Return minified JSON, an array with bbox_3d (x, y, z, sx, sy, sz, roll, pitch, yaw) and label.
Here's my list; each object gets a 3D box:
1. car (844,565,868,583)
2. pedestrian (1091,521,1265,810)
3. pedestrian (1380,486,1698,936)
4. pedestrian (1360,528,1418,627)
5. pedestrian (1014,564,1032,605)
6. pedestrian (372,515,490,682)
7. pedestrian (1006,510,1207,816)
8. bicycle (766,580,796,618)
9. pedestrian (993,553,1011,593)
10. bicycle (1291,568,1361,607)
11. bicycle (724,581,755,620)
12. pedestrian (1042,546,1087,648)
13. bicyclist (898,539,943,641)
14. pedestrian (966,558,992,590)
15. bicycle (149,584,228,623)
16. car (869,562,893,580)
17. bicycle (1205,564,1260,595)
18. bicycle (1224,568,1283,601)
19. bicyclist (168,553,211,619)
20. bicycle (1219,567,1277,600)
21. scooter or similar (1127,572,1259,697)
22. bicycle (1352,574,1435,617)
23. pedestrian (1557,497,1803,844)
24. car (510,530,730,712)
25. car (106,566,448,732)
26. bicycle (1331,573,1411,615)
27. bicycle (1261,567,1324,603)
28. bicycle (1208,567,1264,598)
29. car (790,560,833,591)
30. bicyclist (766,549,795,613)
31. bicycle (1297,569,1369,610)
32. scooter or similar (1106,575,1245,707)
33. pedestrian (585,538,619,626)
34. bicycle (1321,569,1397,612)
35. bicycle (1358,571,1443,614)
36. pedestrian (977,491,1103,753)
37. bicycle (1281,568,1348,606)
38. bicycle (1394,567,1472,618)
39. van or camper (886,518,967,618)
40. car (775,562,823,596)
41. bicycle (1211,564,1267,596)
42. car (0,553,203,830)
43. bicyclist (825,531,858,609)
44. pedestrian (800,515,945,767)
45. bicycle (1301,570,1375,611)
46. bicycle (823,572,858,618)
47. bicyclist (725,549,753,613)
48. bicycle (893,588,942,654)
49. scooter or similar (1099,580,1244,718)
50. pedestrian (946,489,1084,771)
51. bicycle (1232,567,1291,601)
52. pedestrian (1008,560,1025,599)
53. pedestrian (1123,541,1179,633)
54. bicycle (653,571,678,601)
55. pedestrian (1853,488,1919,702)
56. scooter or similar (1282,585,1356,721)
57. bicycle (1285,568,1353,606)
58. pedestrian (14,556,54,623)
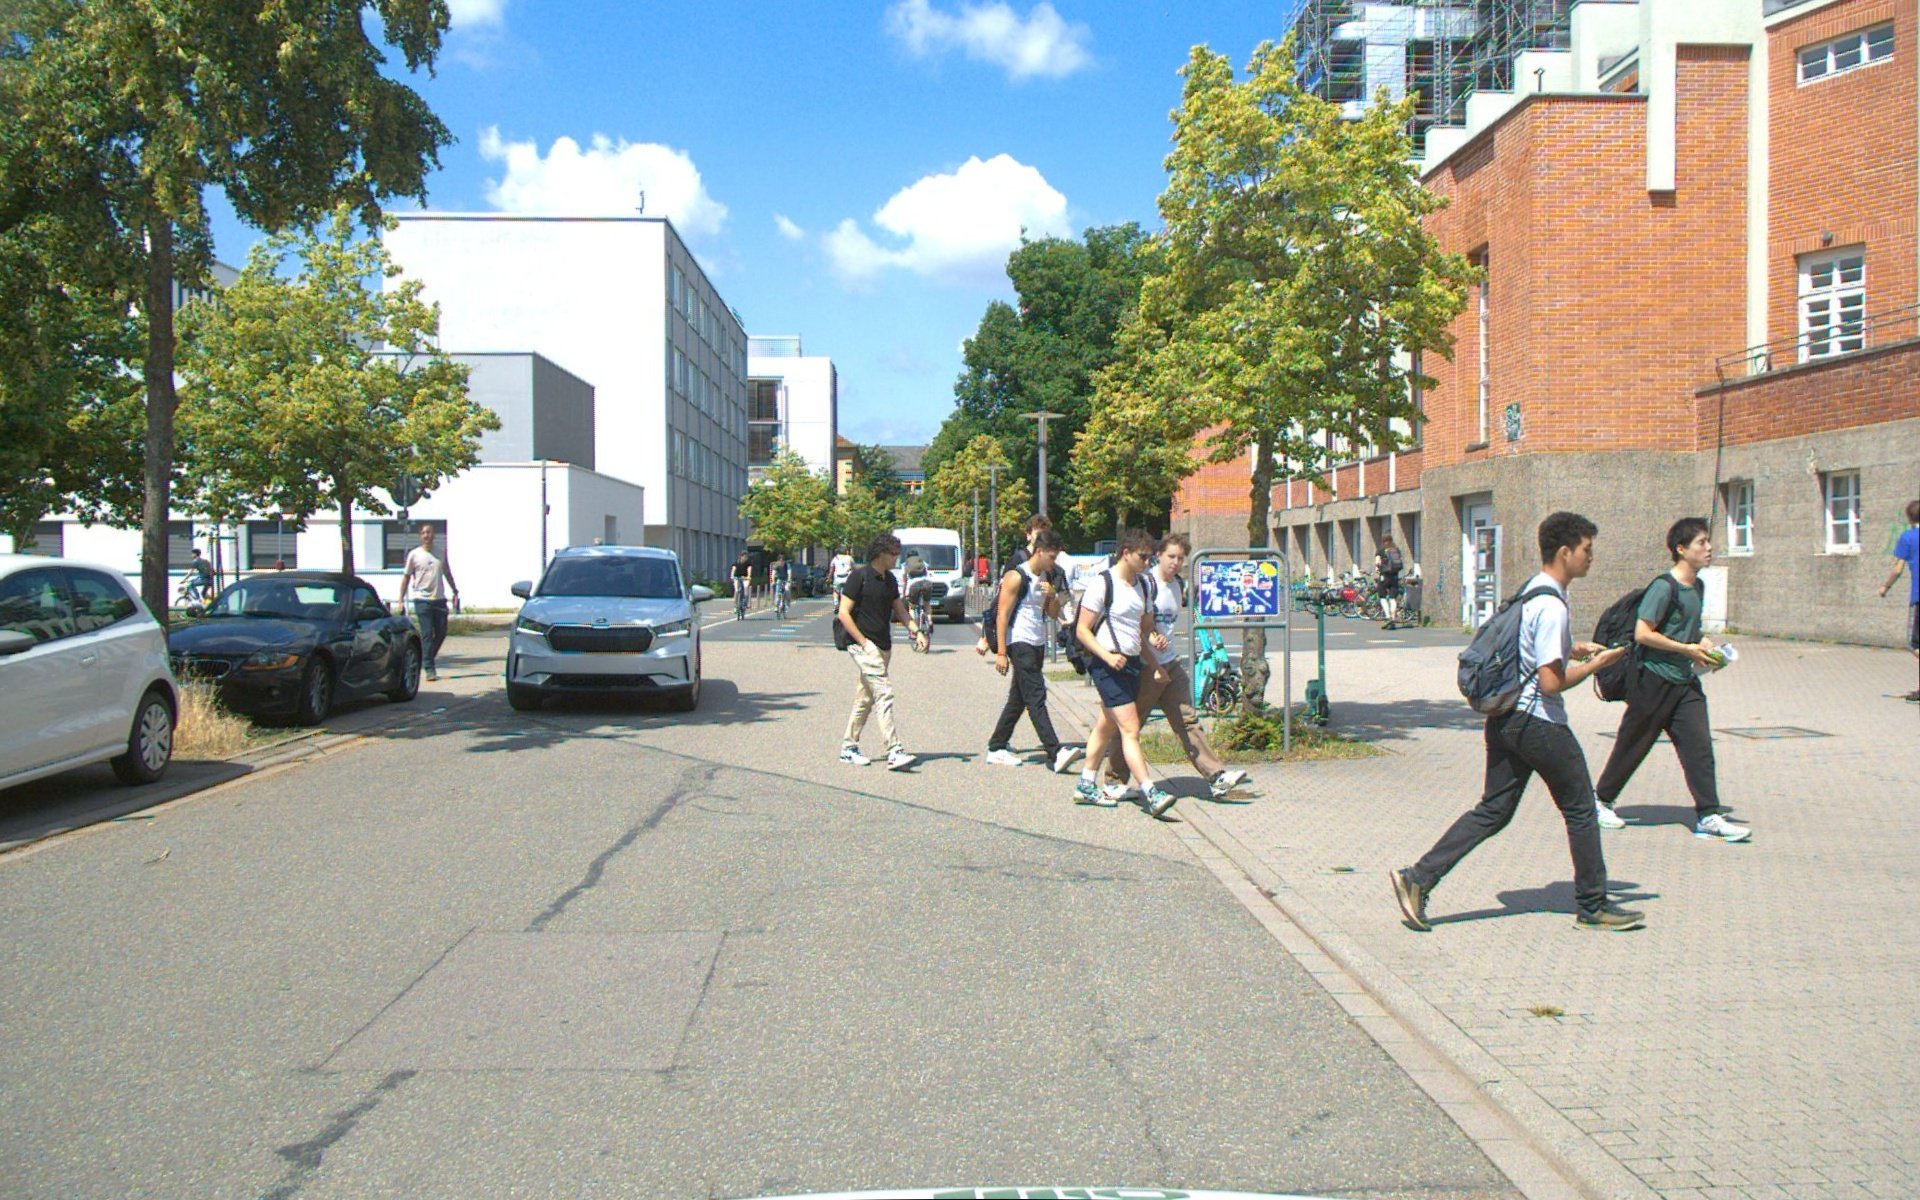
[{"bbox_3d":[-9.214,-2.307,146.888,1.758,1.556,4.002,-1,1,2],"label":"car"},{"bbox_3d":[1.405,0.386,10.641,0.891,1.769,0.676,1,1,37],"label":"pedestrian"},{"bbox_3d":[2.347,0.433,6.812,1.081,1.746,0.711,-1,1,7],"label":"pedestrian"},{"bbox_3d":[8.377,-0.445,32.306,0.774,1.892,1.116,-1,1,-3],"label":"pedestrian"},{"bbox_3d":[2.958,-0.739,77.811,0.774,1.892,1.026,-1,1,-1],"label":"pedestrian"},{"bbox_3d":[-6.418,-0.033,20.044,1.008,1.936,1.162,-1,1,-38],"label":"pedestrian"},{"bbox_3d":[0.896,0.356,10.104,0.964,1.769,0.698,-1,1,37],"label":"pedestrian"},{"bbox_3d":[-4.847,-0.049,44.879,0.663,0.981,2.002,1,1,-2],"label":"bicycle"},{"bbox_3d":[1.972,-1.272,78.001,0.774,1.892,1.243,-1,1,-1],"label":"pedestrian"},{"bbox_3d":[10.175,-0.342,46.006,1.773,1.002,0.560,-2,1,-3],"label":"bicycle"},{"bbox_3d":[-5.735,-0.004,43.027,0.663,0.981,2.002,0,1,-4],"label":"bicycle"},{"bbox_3d":[1.793,-0.064,28.499,0.688,1.724,0.962,0,1,-1],"label":"pedestrian"},{"bbox_3d":[-0.677,-0.172,27.987,0.703,1.691,1.094,0,0,-5],"label":"bicyclist"},{"bbox_3d":[1.260,-1.749,110.408,1.470,2.030,1.645,-4,2,-4],"label":"pedestrian"},{"bbox_3d":[-20.968,0.085,44.965,2.074,1.020,0.810,0,0,25],"label":"bicycle"},{"bbox_3d":[-7.027,-2.559,146.724,1.758,1.556,4.002,-1,1,2],"label":"car"},{"bbox_3d":[9.532,-0.732,57.864,1.773,1.002,0.560,-2,1,-3],"label":"bicycle"},{"bbox_3d":[9.546,-0.513,53.860,1.773,1.002,0.560,-2,1,-3],"label":"bicycle"},{"bbox_3d":[-20.924,-0.375,44.923,0.676,1.787,0.810,0,0,24],"label":"bicyclist"},{"bbox_3d":[9.504,-0.546,54.564,1.773,1.002,0.560,-2,1,-3],"label":"bicycle"},{"bbox_3d":[2.495,0.359,17.739,1.237,1.287,0.638,0,1,30],"label":"scooter or similar"},{"bbox_3d":[10.163,-0.114,38.818,1.773,0.927,0.560,-2,1,-3],"label":"bicycle"},{"bbox_3d":[3.899,0.347,8.982,0.696,1.749,0.980,-4,2,-37],"label":"pedestrian"},{"bbox_3d":[-3.493,0.190,17.759,1.881,1.647,4.514,2,0,-7],"label":"car"},{"bbox_3d":[-6.269,0.366,15.679,1.611,1.323,3.927,-1,1,-1],"label":"car"},{"bbox_3d":[9.987,-0.148,40.215,1.773,0.927,0.560,-2,1,-3],"label":"bicycle"},{"bbox_3d":[10.164,-0.466,50.516,1.773,1.002,0.560,-2,1,-3],"label":"bicycle"},{"bbox_3d":[9.496,-0.607,56.901,1.773,1.002,0.560,-2,1,-3],"label":"bicycle"},{"bbox_3d":[-7.917,-1.324,88.261,1.758,1.556,4.002,-1,1,2],"label":"car"},{"bbox_3d":[-4.848,-0.515,44.733,0.654,1.711,0.992,-2,1,-3],"label":"bicyclist"},{"bbox_3d":[9.903,-0.288,43.937,1.773,1.002,0.560,-2,1,-3],"label":"bicycle"},{"bbox_3d":[2.203,0.406,16.916,1.237,1.287,0.649,0,1,30],"label":"scooter or similar"},{"bbox_3d":[-7.461,-0.368,34.459,0.655,1.816,0.981,0,0,-15],"label":"pedestrian"},{"bbox_3d":[10.116,-0.250,41.984,1.773,1.002,0.560,-2,1,-3],"label":"bicycle"},{"bbox_3d":[10.111,-0.174,37.959,1.773,0.927,0.560,-2,1,-3],"label":"bicycle"},{"bbox_3d":[0.645,0.160,13.179,0.809,2.014,0.692,0,2,19],"label":"pedestrian"},{"bbox_3d":[10.140,-0.387,47.327,1.773,1.002,0.560,-2,1,-3],"label":"bicycle"},{"bbox_3d":[10.302,-0.173,36.035,1.504,1.051,0.560,-2,1,-3],"label":"bicycle"},{"bbox_3d":[-0.841,-0.835,44.229,1.952,2.488,4.570,-1,0,1],"label":"van or camper"},{"bbox_3d":[-7.835,-1.041,80.850,1.758,1.556,4.002,-1,1,2],"label":"car"},{"bbox_3d":[9.497,-0.682,56.261,1.773,1.002,0.560,-2,1,-3],"label":"bicycle"},{"bbox_3d":[-5.813,0.455,9.133,1.629,1.436,3.806,1,1,-2],"label":"car"},{"bbox_3d":[-2.775,-0.687,38.730,0.755,1.787,0.847,0,-1,-4],"label":"bicyclist"},{"bbox_3d":[-0.639,0.280,12.339,0.784,1.803,0.855,0,2,19],"label":"pedestrian"},{"bbox_3d":[9.896,-0.256,43.302,1.773,1.002,0.560,-2,1,-3],"label":"bicycle"},{"bbox_3d":[-2.814,-0.101,38.807,0.792,1.020,2.121,1,-1,-5],"label":"bicycle"},{"bbox_3d":[-5.754,-0.512,43.097,0.630,1.629,0.908,-2,1,-4],"label":"bicyclist"},{"bbox_3d":[-0.739,0.339,28.025,0.693,1.010,1.909,0,2,-5],"label":"bicycle"},{"bbox_3d":[2.059,0.463,16.138,1.237,1.287,0.649,0,1,30],"label":"scooter or similar"},{"bbox_3d":[0.400,0.211,12.288,0.610,2.015,0.819,-2,0,-33],"label":"pedestrian"},{"bbox_3d":[9.659,-0.510,53.035,1.773,1.002,0.560,-2,1,-3],"label":"bicycle"},{"bbox_3d":[2.761,-0.998,80.932,0.774,1.892,1.026,-1,1,-1],"label":"pedestrian"},{"bbox_3d":[3.782,-0.265,32.835,0.837,1.763,1.159,-1,1,-6],"label":"pedestrian"},{"bbox_3d":[-10.441,-0.503,58.678,0.512,1.002,1.633,-2,1,2],"label":"bicycle"},{"bbox_3d":[8.910,-0.069,15.295,0.688,1.924,0.992,-2,2,-7],"label":"pedestrian"},{"bbox_3d":[3.353,0.472,15.404,0.635,1.180,1.266,-1,1,13],"label":"scooter or similar"},{"bbox_3d":[10.144,-0.375,46.739,1.773,1.002,0.560,-2,1,-3],"label":"bicycle"},{"bbox_3d":[-24.610,-0.281,43.959,0.679,1.779,0.636,0,1,-2],"label":"pedestrian"}]
